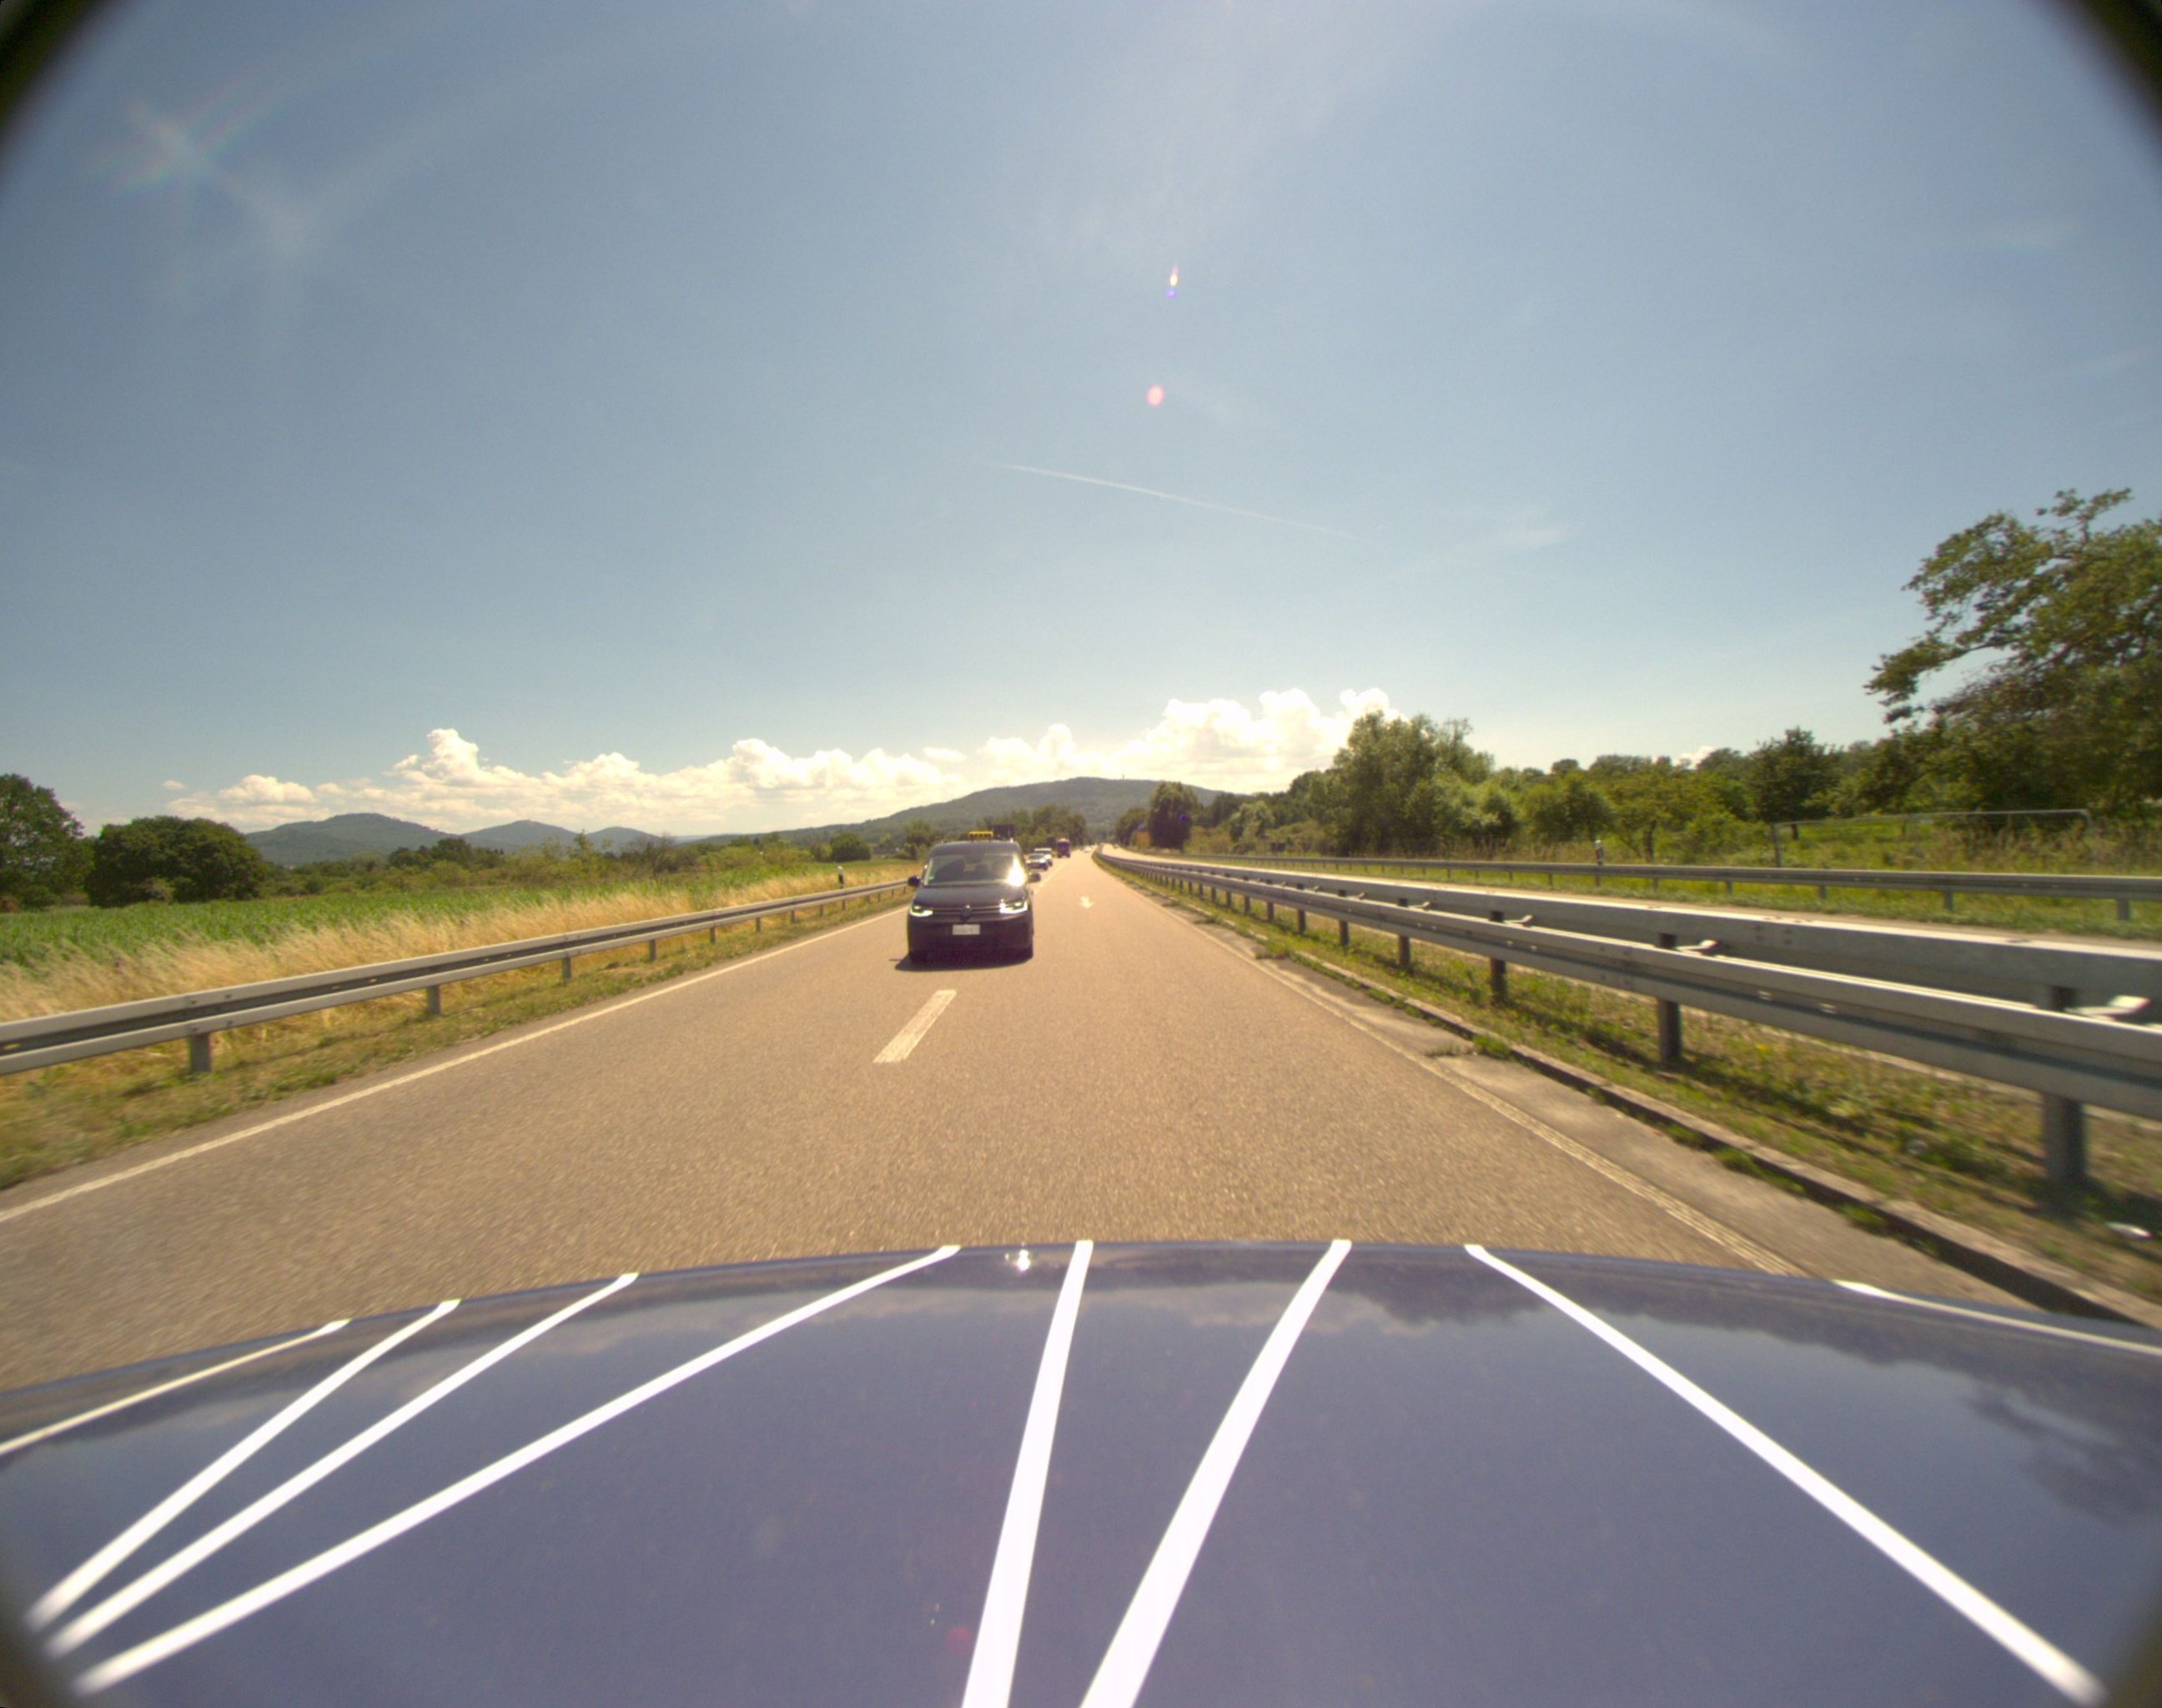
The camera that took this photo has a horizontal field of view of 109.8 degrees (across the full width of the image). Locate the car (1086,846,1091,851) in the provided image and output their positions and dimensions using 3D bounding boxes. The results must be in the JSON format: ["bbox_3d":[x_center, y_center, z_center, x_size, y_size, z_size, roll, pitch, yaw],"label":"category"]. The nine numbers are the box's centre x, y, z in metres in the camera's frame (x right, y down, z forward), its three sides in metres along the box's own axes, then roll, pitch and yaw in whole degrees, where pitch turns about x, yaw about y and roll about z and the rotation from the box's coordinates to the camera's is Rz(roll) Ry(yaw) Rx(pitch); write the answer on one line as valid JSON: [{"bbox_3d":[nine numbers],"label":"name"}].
[{"bbox_3d":[2.356,-1.685,236.552,1.620,1.545,3.485,-2,1,0],"label":"car"}]

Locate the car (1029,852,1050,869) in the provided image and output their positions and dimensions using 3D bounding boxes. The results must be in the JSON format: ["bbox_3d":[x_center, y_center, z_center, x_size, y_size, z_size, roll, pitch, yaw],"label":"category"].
[{"bbox_3d":[-3.574,0.558,66.551,1.577,1.387,3.485,-2,1,0],"label":"car"}]

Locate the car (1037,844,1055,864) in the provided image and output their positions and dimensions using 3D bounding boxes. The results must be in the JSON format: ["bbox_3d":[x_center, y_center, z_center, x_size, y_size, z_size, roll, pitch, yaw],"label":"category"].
[{"bbox_3d":[-3.818,0.030,83.384,1.620,2.085,3.485,-2,1,0],"label":"car"}]

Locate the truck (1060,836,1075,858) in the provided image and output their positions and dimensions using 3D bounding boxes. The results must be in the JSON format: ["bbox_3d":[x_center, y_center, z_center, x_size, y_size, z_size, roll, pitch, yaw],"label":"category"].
[{"bbox_3d":[-2.731,-1.471,156.377,2.827,4.143,9.947,-2,1,0],"label":"truck"}]

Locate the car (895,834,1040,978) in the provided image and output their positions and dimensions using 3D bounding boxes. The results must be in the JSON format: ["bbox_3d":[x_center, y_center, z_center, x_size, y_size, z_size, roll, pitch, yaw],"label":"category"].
[{"bbox_3d":[-1.688,0.700,13.071,1.859,1.876,5.571,-2,0,-3],"label":"car"}]
